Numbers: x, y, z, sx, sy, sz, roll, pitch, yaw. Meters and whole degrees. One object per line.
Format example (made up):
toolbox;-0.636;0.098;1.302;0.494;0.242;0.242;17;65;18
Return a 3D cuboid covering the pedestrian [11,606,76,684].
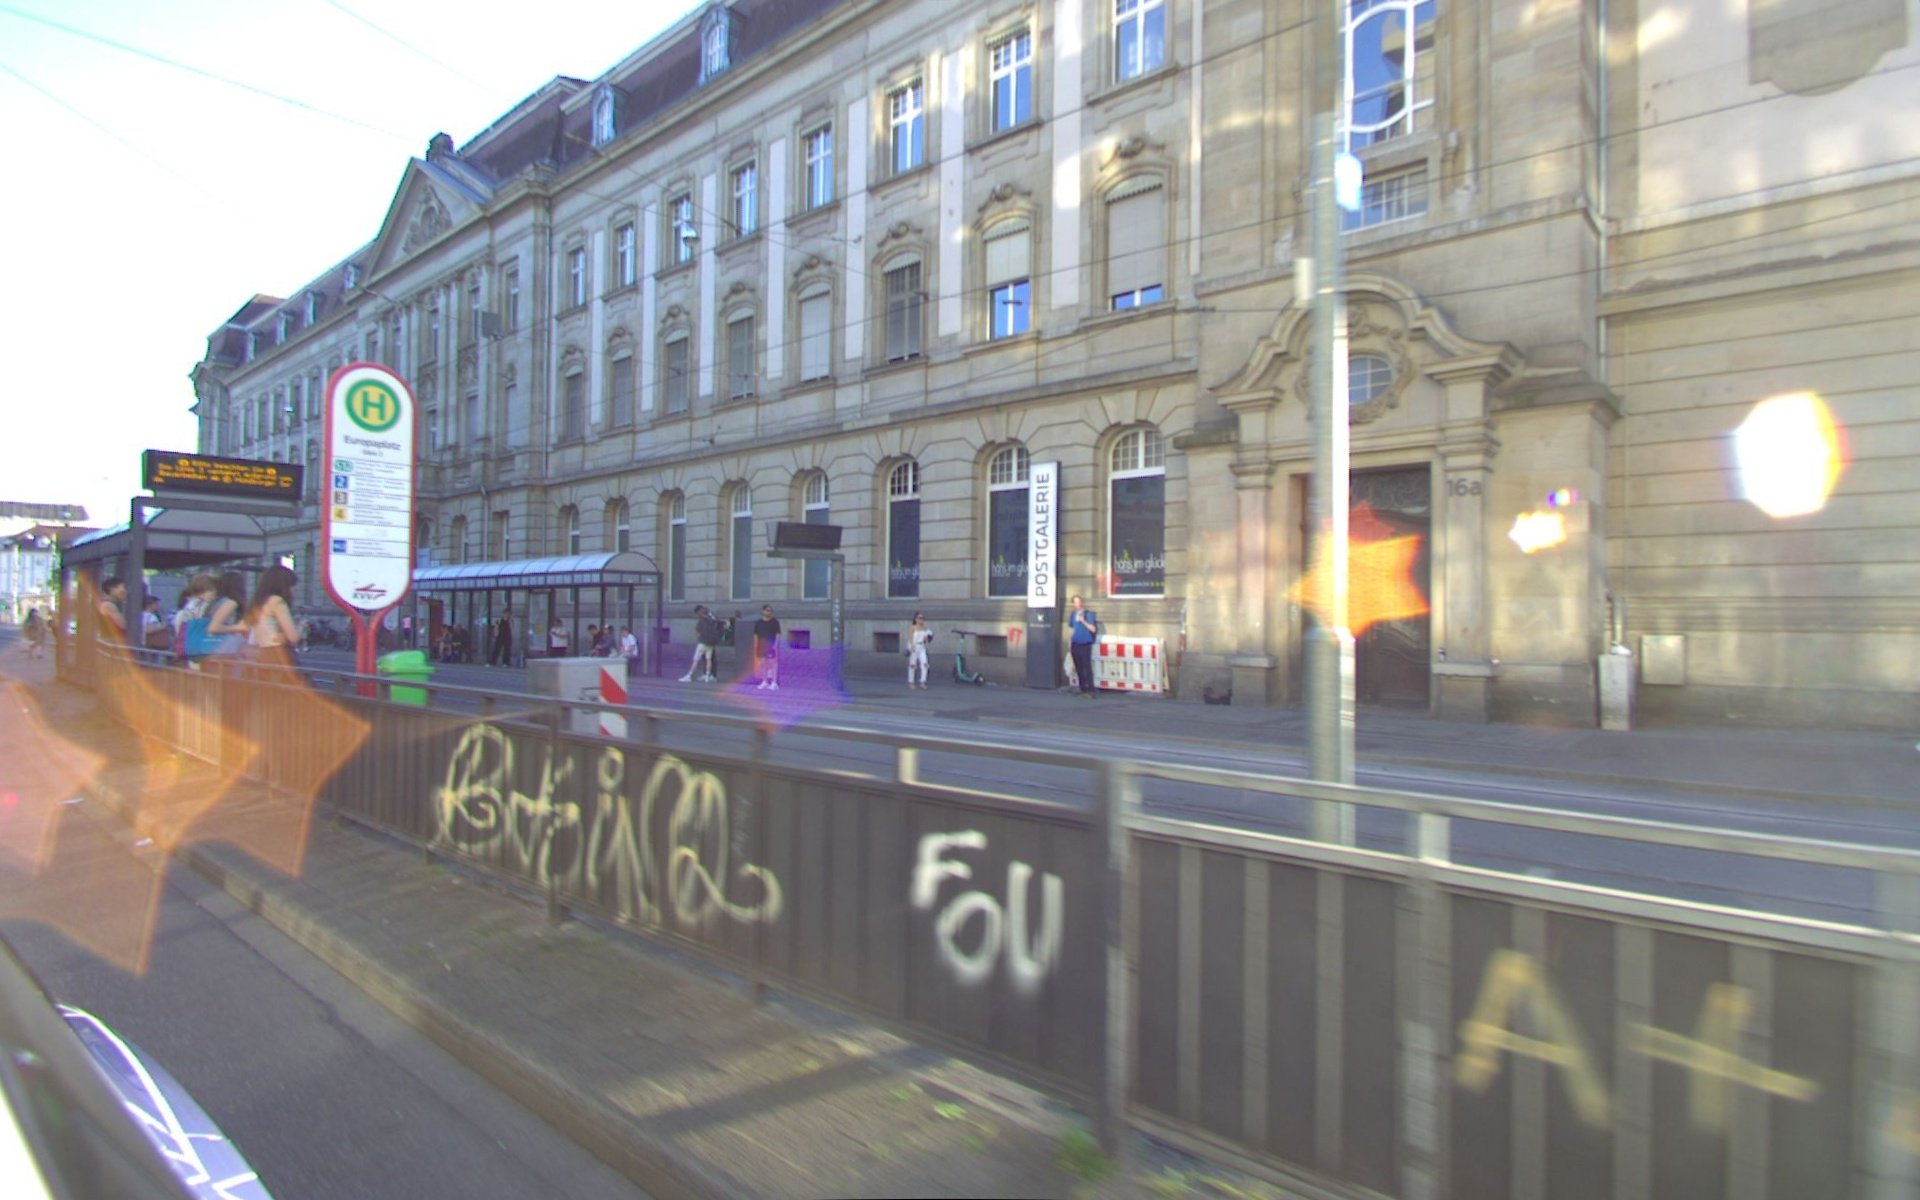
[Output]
pedestrian;-19.772;0.961;21.854;0.956;1.641;0.692;1;-2;-37

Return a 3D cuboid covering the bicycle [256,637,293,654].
bicycle;-35.963;2.380;53.111;1.557;0.880;0.451;0;-1;-44

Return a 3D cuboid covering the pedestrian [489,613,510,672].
pedestrian;-13.109;1.202;28.814;0.510;1.663;0.640;1;-1;-26

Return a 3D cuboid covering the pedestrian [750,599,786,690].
pedestrian;-3.868;0.884;20.357;0.560;1.790;0.462;-2;-2;39

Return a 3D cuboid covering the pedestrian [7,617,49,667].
pedestrian;-28.345;1.268;30.777;0.901;1.512;0.837;-2;-2;41

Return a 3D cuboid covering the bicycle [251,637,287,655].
bicycle;-37.135;2.479;54.399;1.557;0.880;0.451;0;-1;-44

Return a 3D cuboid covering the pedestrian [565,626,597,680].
pedestrian;-9.607;1.323;25.646;0.512;1.337;0.638;2;-2;-45

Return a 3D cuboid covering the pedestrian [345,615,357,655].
pedestrian;-24.629;1.417;40.913;0.433;1.617;0.573;0;-1;-31

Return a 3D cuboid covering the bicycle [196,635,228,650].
bicycle;-45.773;2.596;61.914;1.557;0.880;0.451;0;-1;-44

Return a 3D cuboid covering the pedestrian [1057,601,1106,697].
pedestrian;2.311;0.916;19.291;0.705;1.790;0.614;-1;-2;38

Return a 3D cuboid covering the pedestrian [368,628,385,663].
pedestrian;-24.477;1.907;42.461;0.433;1.451;0.573;0;-1;-12

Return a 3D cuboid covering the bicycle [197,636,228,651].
bicycle;-46.568;2.691;63.059;1.557;0.880;0.451;0;-1;-44

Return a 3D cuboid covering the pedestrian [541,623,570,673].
pedestrian;-11.035;1.292;27.622;0.512;1.337;0.638;2;-2;-45

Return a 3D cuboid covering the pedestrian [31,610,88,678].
pedestrian;-22.470;1.090;25.261;0.677;1.650;0.862;0;-2;-8

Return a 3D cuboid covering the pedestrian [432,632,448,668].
pedestrian;-16.242;1.550;31.617;0.360;1.111;0.430;0;-1;-43

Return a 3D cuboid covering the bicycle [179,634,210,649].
bicycle;-49.008;2.640;64.823;1.557;0.880;0.451;0;-1;-44

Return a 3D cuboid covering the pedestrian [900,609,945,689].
pedestrian;-0.781;1.003;21.016;0.630;1.626;0.692;-1;-1;40

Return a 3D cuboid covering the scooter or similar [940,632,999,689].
scooter or similar;0.200;1.304;22.118;1.293;1.191;0.481;-1;-1;44

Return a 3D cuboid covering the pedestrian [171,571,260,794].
pedestrian;-6.261;0.663;8.509;0.533;1.780;0.595;0;-1;-43

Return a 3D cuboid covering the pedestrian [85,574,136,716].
pedestrian;-11.004;0.569;13.114;0.594;1.780;0.408;-1;-1;40

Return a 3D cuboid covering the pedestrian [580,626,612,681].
pedestrian;-9.035;1.315;25.134;0.512;1.337;0.638;2;-2;-45

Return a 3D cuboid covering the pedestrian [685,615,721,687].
pedestrian;-5.770;1.131;22.745;0.512;1.581;0.638;2;-2;-45

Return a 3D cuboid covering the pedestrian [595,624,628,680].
pedestrian;-8.434;1.253;24.499;0.512;1.337;0.638;2;-2;-45

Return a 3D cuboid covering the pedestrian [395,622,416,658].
pedestrian;-23.451;1.676;42.807;0.589;1.501;0.538;-1;-1;18

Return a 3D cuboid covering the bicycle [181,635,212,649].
bicycle;-49.515;2.734;65.653;1.557;0.880;0.451;0;-1;-44

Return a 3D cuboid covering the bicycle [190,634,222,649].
bicycle;-47.265;2.618;63.450;1.557;0.880;0.451;0;-1;-44

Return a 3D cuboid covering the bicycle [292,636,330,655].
bicycle;-32.455;2.288;50.627;1.557;0.880;0.451;0;-1;-44

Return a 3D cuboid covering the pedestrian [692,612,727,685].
pedestrian;-5.831;1.121;23.573;0.512;1.658;0.638;2;-2;-45

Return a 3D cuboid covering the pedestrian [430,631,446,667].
pedestrian;-16.576;1.556;32.124;0.360;1.111;0.430;0;-1;-43

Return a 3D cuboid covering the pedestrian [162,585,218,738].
pedestrian;-8.559;0.663;11.244;0.549;1.654;0.382;-1;-1;40

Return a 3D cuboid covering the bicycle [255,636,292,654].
bicycle;-36.365;2.376;53.616;1.557;0.880;0.451;0;-1;-44

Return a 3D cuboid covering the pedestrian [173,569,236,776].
pedestrian;-6.846;0.635;9.169;0.544;1.809;0.338;-1;-1;40

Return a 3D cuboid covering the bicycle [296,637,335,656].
bicycle;-31.287;2.259;49.122;1.557;0.880;0.451;0;-1;-44

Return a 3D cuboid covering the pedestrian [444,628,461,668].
pedestrian;-15.585;1.472;31.086;0.360;1.209;0.430;0;-1;-43

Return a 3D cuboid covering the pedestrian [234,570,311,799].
pedestrian;-5.170;0.612;7.613;0.502;1.654;0.353;-1;-1;40

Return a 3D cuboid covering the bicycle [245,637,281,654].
bicycle;-38.030;2.492;55.246;1.557;0.880;0.451;0;-1;-44

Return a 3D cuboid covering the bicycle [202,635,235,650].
bicycle;-44.951;2.586;61.344;1.557;0.880;0.451;0;-1;-44
